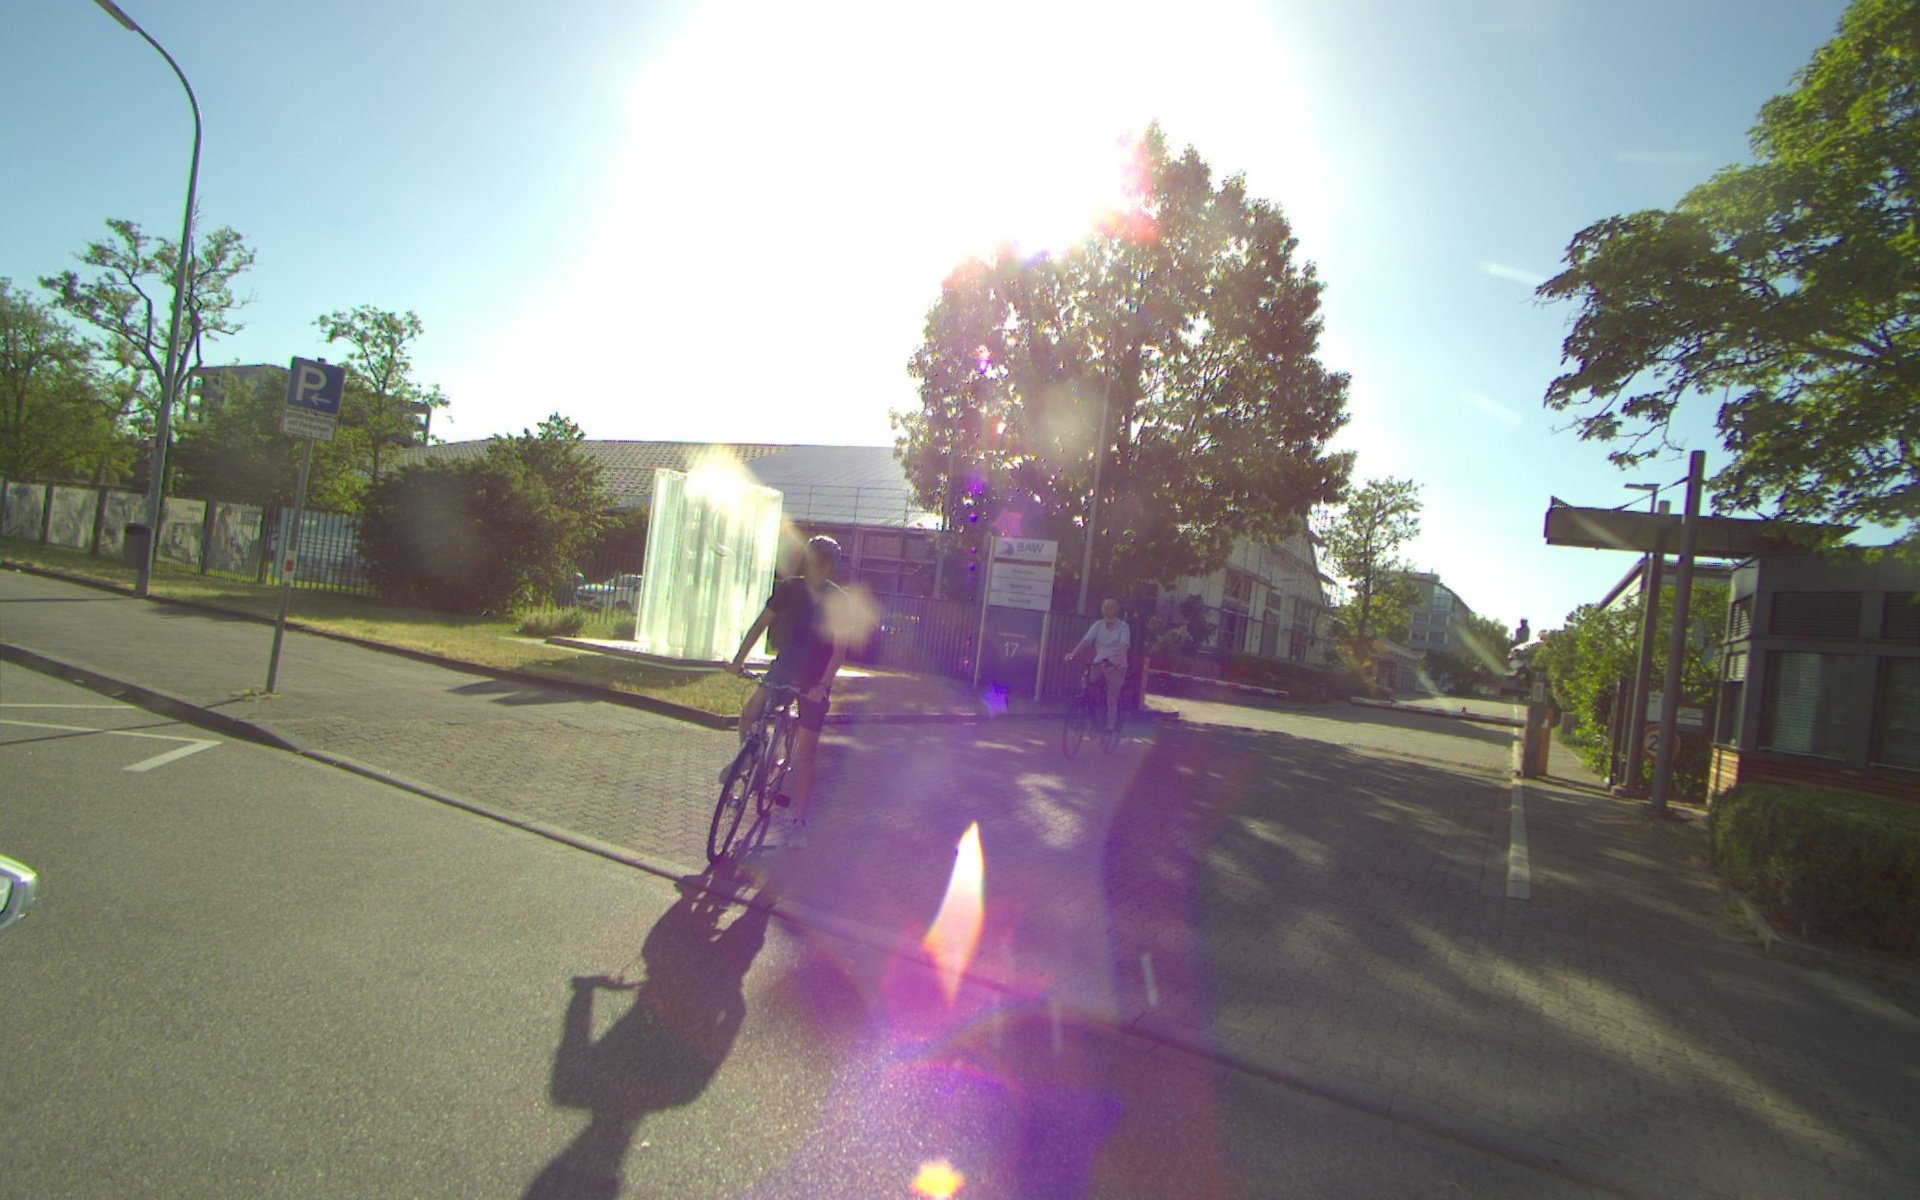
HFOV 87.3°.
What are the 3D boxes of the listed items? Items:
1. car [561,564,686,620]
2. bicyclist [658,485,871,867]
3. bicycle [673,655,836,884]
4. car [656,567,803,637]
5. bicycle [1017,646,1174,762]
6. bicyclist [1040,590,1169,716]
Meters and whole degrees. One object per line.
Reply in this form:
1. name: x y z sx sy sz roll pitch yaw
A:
1. car: -11.333 -0.234 34.146 1.646 1.396 3.898 7 -1 27
2. bicyclist: -1.139 0.428 6.138 0.942 2.040 1.051 7 2 -5
3. bicycle: -1.230 0.978 6.400 0.689 1.021 1.882 7 1 -5
4. car: -7.135 0.121 31.662 1.964 1.688 4.642 7 -1 25
5. bicycle: 1.589 1.191 11.530 1.891 1.157 0.659 6 1 -45
6. bicyclist: 1.670 0.620 11.570 1.094 1.283 0.851 7 0 -45
